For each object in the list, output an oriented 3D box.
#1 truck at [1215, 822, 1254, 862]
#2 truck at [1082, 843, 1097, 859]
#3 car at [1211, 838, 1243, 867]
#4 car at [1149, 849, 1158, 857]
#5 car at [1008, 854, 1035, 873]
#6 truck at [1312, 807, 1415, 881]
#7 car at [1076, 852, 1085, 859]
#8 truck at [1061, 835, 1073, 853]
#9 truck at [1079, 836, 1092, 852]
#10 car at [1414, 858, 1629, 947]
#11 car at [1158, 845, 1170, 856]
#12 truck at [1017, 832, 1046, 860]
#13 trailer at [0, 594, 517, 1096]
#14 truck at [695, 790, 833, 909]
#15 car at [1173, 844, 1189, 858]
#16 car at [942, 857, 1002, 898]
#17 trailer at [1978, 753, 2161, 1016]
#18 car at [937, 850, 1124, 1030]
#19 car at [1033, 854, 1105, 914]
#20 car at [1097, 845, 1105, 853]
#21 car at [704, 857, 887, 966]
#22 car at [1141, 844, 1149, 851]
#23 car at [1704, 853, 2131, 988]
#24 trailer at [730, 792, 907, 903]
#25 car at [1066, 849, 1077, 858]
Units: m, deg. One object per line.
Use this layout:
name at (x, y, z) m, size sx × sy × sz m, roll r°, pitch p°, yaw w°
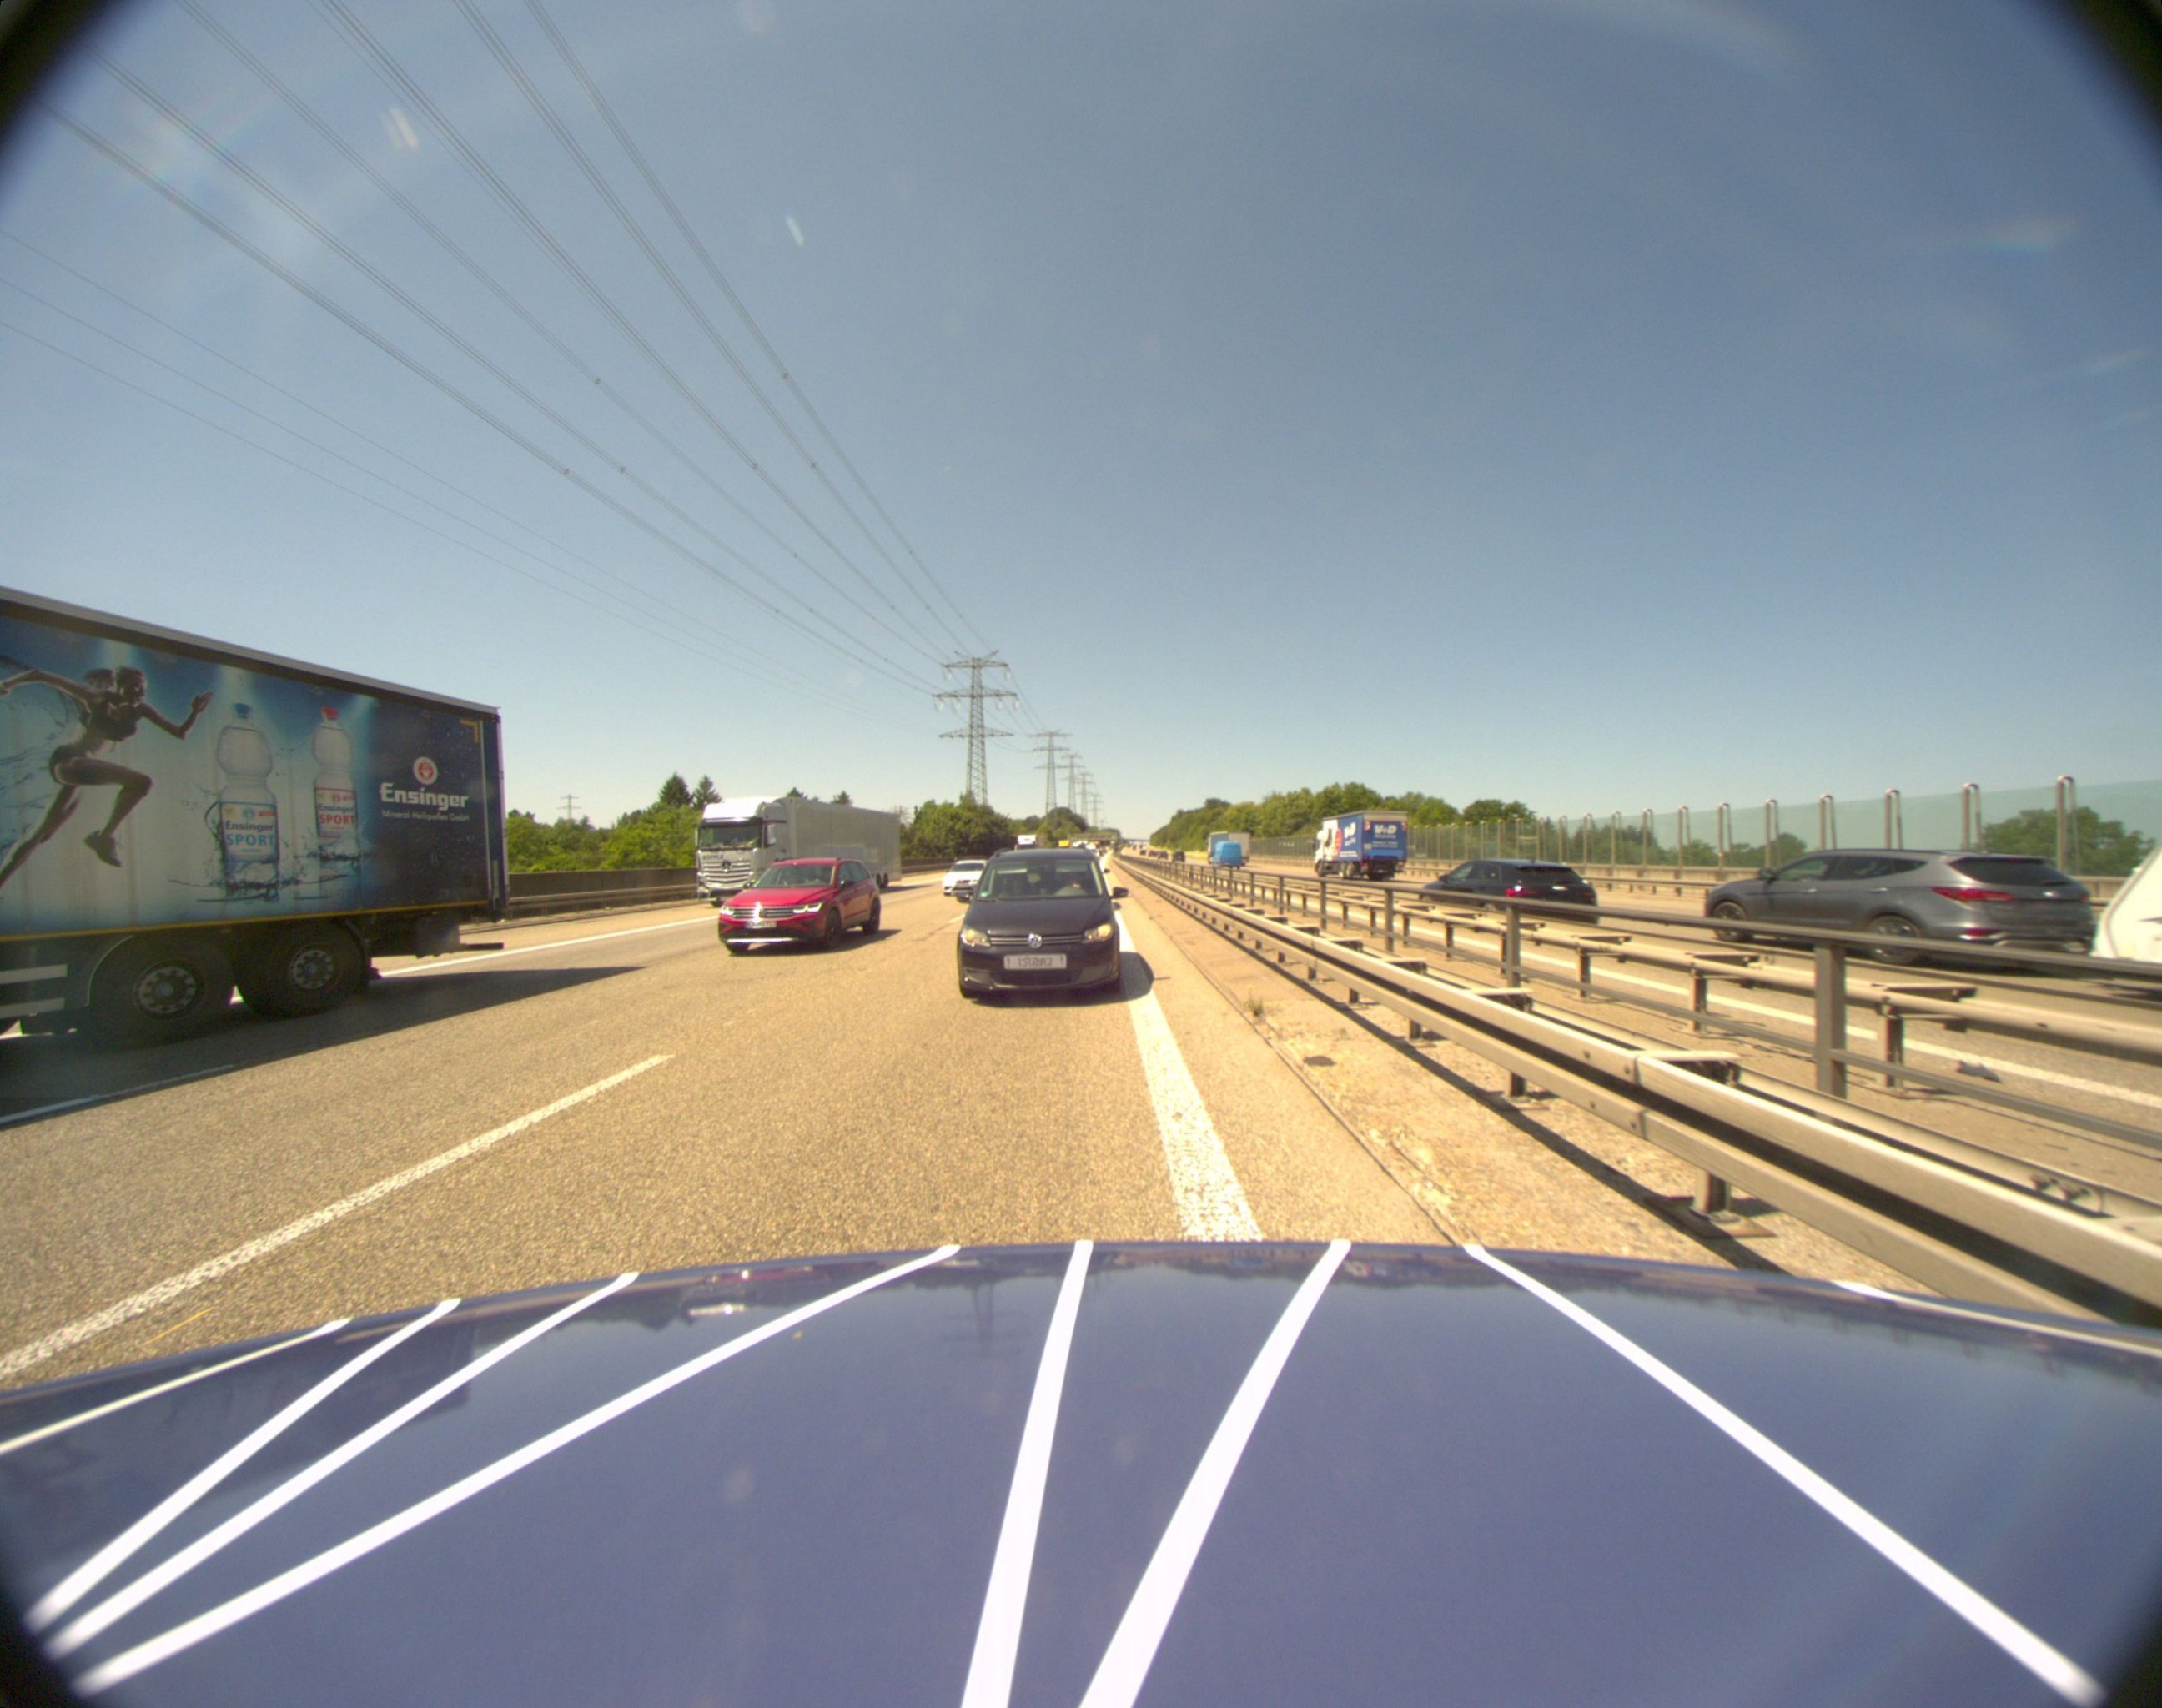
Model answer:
truck at (18.520, -1.385, 92.224) m, size 2.876 × 4.514 × 9.988 m, roll 1°, pitch 1°, yaw 2°
truck at (1.420, -0.536, 121.736) m, size 2.284 × 2.479 × 5.861 m, roll -2°, pitch 1°, yaw 1°
car at (13.615, -0.150, 71.030) m, size 1.986 × 2.576 × 5.036 m, roll 1°, pitch 1°, yaw 1°
car at (18.030, -0.246, 189.386) m, size 1.986 × 2.058 × 4.239 m, roll 1°, pitch 1°, yaw 1°
car at (-4.928, 0.772, 63.648) m, size 1.739 × 1.437 × 4.210 m, roll -2°, pitch 0°, yaw 2°
truck at (17.296, -0.619, 47.435) m, size 2.876 × 4.062 × 9.988 m, roll 1°, pitch 1°, yaw 2°
car at (-0.101, 0.289, 155.114) m, size 1.763 × 1.495 × 4.094 m, roll -1°, pitch 0°, yaw 0°
truck at (-3.323, -2.418, 184.627) m, size 2.346 × 4.058 × 8.278 m, roll -2°, pitch 1°, yaw 1°
truck at (1.264, -2.451, 190.524) m, size 2.980 × 3.832 × 10.561 m, roll -2°, pitch 1°, yaw 1°
car at (8.275, 0.831, 14.764) m, size 1.853 × 1.386 × 4.000 m, roll 2°, pitch 0°, yaw 1°
car at (16.291, -0.721, 149.596) m, size 1.986 × 2.058 × 4.239 m, roll 1°, pitch 1°, yaw 1°
truck at (-6.761, -1.066, 105.202) m, size 2.985 × 3.538 × 10.967 m, roll -2°, pitch 1°, yaw 1°
trailer at (-9.698, -0.047, 6.907) m, size 2.572 × 3.922 × 8.479 m, roll -2°, pitch 0°, yaw 1°
truck at (-11.990, -0.181, 29.353) m, size 2.522 × 4.096 × 5.717 m, roll -1°, pitch 1°, yaw 4°
car at (15.263, -0.460, 116.388) m, size 1.986 × 2.058 × 4.239 m, roll 1°, pitch 1°, yaw 1°
car at (-4.529, 0.944, 32.144) m, size 1.843 × 1.481 × 4.072 m, roll -2°, pitch 1°, yaw 1°
trailer at (12.183, 0.341, 6.133) m, size 2.322 × 2.690 × 6.361 m, roll 1°, pitch 0°, yaw 1°
car at (-0.471, 0.817, 9.298) m, size 1.740 × 1.652 × 3.999 m, roll -2°, pitch 1°, yaw 0°
car at (-0.295, 0.788, 22.058) m, size 1.845 × 1.495 × 4.377 m, roll -1°, pitch 0°, yaw 1°
car at (4.994, -1.235, 188.514) m, size 1.998 × 2.002 × 4.000 m, roll -2°, pitch 1°, yaw 1°
car at (-5.126, 0.938, 14.321) m, size 1.779 × 1.652 × 4.224 m, roll -2°, pitch 0°, yaw 0°
car at (18.900, -1.814, 225.233) m, size 1.986 × 2.058 × 4.239 m, roll 1°, pitch 1°, yaw 1°
car at (12.188, 0.827, 11.623) m, size 1.806 × 1.631 × 4.268 m, roll 1°, pitch 0°, yaw 1°
trailer at (-11.553, -0.309, 35.784) m, size 2.541 × 4.095 × 13.775 m, roll -2°, pitch 0°, yaw 4°
car at (-1.607, -0.040, 127.785) m, size 1.763 × 1.495 × 4.094 m, roll -1°, pitch 1°, yaw 0°
